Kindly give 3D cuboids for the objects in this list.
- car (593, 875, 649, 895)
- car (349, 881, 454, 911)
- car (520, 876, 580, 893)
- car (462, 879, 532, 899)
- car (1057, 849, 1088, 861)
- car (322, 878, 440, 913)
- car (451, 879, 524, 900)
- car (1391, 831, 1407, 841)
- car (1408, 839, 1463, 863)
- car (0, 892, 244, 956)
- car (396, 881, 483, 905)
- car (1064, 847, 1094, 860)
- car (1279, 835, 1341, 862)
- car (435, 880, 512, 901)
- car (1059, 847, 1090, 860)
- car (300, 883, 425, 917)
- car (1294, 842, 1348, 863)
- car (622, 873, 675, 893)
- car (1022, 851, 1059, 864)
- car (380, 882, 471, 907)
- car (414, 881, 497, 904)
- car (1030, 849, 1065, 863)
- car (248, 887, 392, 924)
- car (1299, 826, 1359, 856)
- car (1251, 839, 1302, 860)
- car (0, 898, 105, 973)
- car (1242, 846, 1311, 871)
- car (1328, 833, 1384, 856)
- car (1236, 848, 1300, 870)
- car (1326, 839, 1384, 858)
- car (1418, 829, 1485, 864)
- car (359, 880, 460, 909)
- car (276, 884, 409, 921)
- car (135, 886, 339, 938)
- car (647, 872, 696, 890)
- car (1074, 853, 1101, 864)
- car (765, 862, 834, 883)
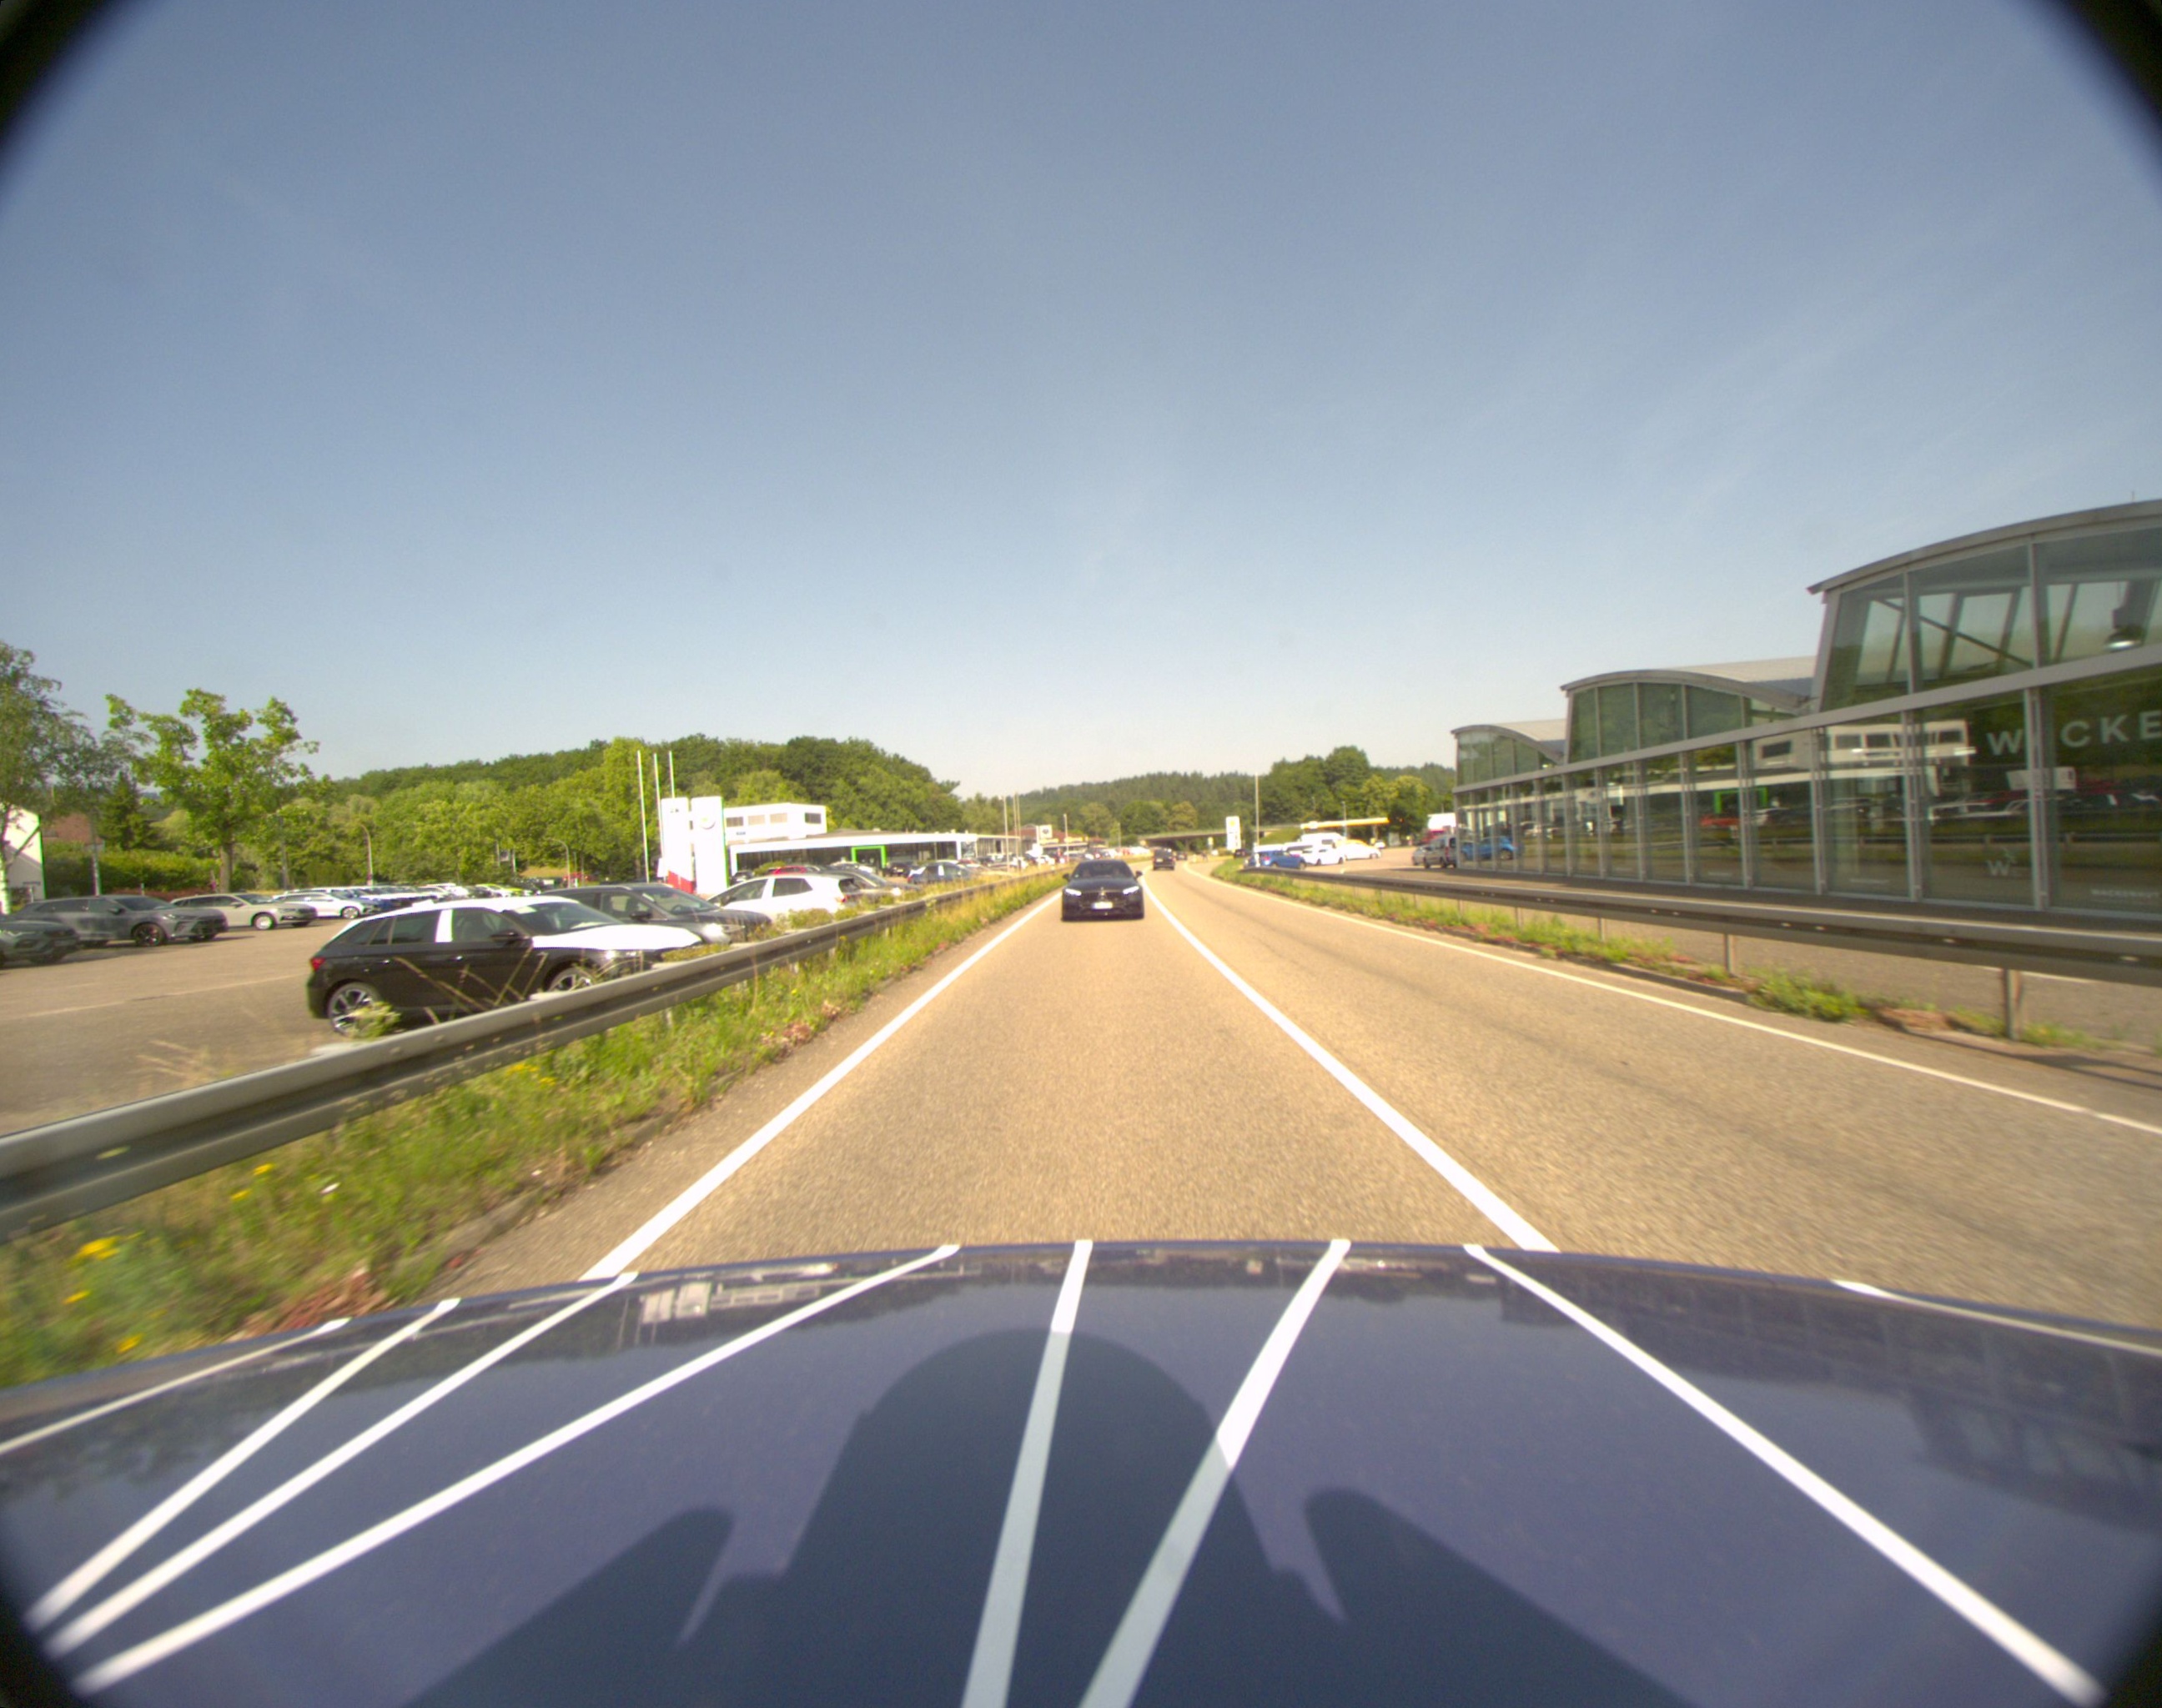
[{"bbox_3d":[-42.490,2.812,70.346,1.837,1.537,4.466,-1,1,11],"label":"car"},{"bbox_3d":[-44.728,2.733,50.148,4.756,1.625,1.928,-2,1,-21],"label":"car"},{"bbox_3d":[-53.887,3.093,77.197,4.749,1.537,1.776,-2,1,-2],"label":"car"},{"bbox_3d":[-53.160,3.197,69.247,4.751,1.537,1.775,-2,1,-9],"label":"car"},{"bbox_3d":[-1.185,0.096,105.140,3.844,1.450,1.747,-2,1,13],"label":"car"},{"bbox_3d":[-42.078,2.490,45.803,4.755,1.770,1.928,-2,1,-18],"label":"car"},{"bbox_3d":[-52.209,3.134,66.900,4.752,1.537,1.775,-2,1,-10],"label":"car"},{"bbox_3d":[60.704,-3.403,145.000,1.905,1.633,4.007,-3,0,35],"label":"car"},{"bbox_3d":[23.559,-0.176,50.704,1.809,1.378,4.833,-3,-1,6],"label":"car"},{"bbox_3d":[-29.013,2.070,23.001,4.637,1.513,1.862,-3,1,-13],"label":"car"},{"bbox_3d":[-49.521,2.985,58.723,4.755,1.537,1.773,-2,1,-18],"label":"car"},{"bbox_3d":[-0.272,-0.080,110.976,3.992,1.623,1.923,-2,1,16],"label":"car"},{"bbox_3d":[20.056,-0.461,66.732,4.802,1.970,2.229,-5,0,5],"label":"car"},{"bbox_3d":[-51.410,3.063,64.385,4.752,1.537,1.838,-2,1,-11],"label":"car"},{"bbox_3d":[-0.855,-0.040,107.823,3.993,1.623,1.922,-2,1,13],"label":"car"},{"bbox_3d":[-40.888,2.596,43.402,4.757,1.579,1.928,-2,1,-23],"label":"car"},{"bbox_3d":[19.423,-0.137,61.401,4.237,1.395,1.893,-4,1,-34],"label":"car"},{"bbox_3d":[-39.743,2.684,69.950,1.837,1.537,4.465,-1,1,9],"label":"car"},{"bbox_3d":[-4.932,0.435,92.175,4.041,1.477,1.724,-2,1,15],"label":"car"},{"bbox_3d":[-48.524,2.949,56.344,4.755,1.537,1.773,-2,1,-19],"label":"car"},{"bbox_3d":[-50.362,3.067,61.289,4.755,1.537,1.774,-2,1,-17],"label":"car"},{"bbox_3d":[-4.187,0.249,94.350,3.884,1.654,1.842,-2,1,15],"label":"car"},{"bbox_3d":[-38.604,2.577,38.705,4.758,1.450,1.927,-2,1,-27],"label":"car"},{"bbox_3d":[26.679,-1.406,81.910,5.732,2.729,2.286,-4,1,7],"label":"car"},{"bbox_3d":[19.973,-0.445,77.792,4.681,1.847,2.144,-4,0,5],"label":"car"},{"bbox_3d":[-26.688,2.009,17.683,4.501,1.591,1.838,-3,1,-21],"label":"car"},{"bbox_3d":[12.859,0.284,49.904,4.239,1.498,1.980,-2,0,-34],"label":"car"},{"bbox_3d":[25.737,-0.876,71.231,4.390,1.797,2.002,-5,0,5],"label":"car"},{"bbox_3d":[13.220,0.367,53.644,4.402,1.359,1.849,-2,0,-34],"label":"car"},{"bbox_3d":[24.728,-0.535,68.724,4.474,1.390,1.967,-4,0,5],"label":"car"},{"bbox_3d":[19.812,-0.353,40.857,1.809,1.703,4.410,-3,-1,7],"label":"car"},{"bbox_3d":[-46.227,2.775,52.413,4.756,1.625,1.928,-2,1,-20],"label":"car"},{"bbox_3d":[-39.867,2.584,41.211,4.758,1.579,1.927,-2,1,-27],"label":"car"},{"bbox_3d":[-31.514,2.116,28.553,4.762,1.513,1.994,-3,1,-13],"label":"car"},{"bbox_3d":[-40.619,2.665,75.544,1.837,1.537,4.466,-1,1,11],"label":"car"},{"bbox_3d":[1.024,0.677,116.489,3.737,1.398,1.824,-2,1,11],"label":"car"},{"bbox_3d":[-22.540,1.475,60.892,4.745,1.556,1.933,-2,1,8],"label":"car"}]
